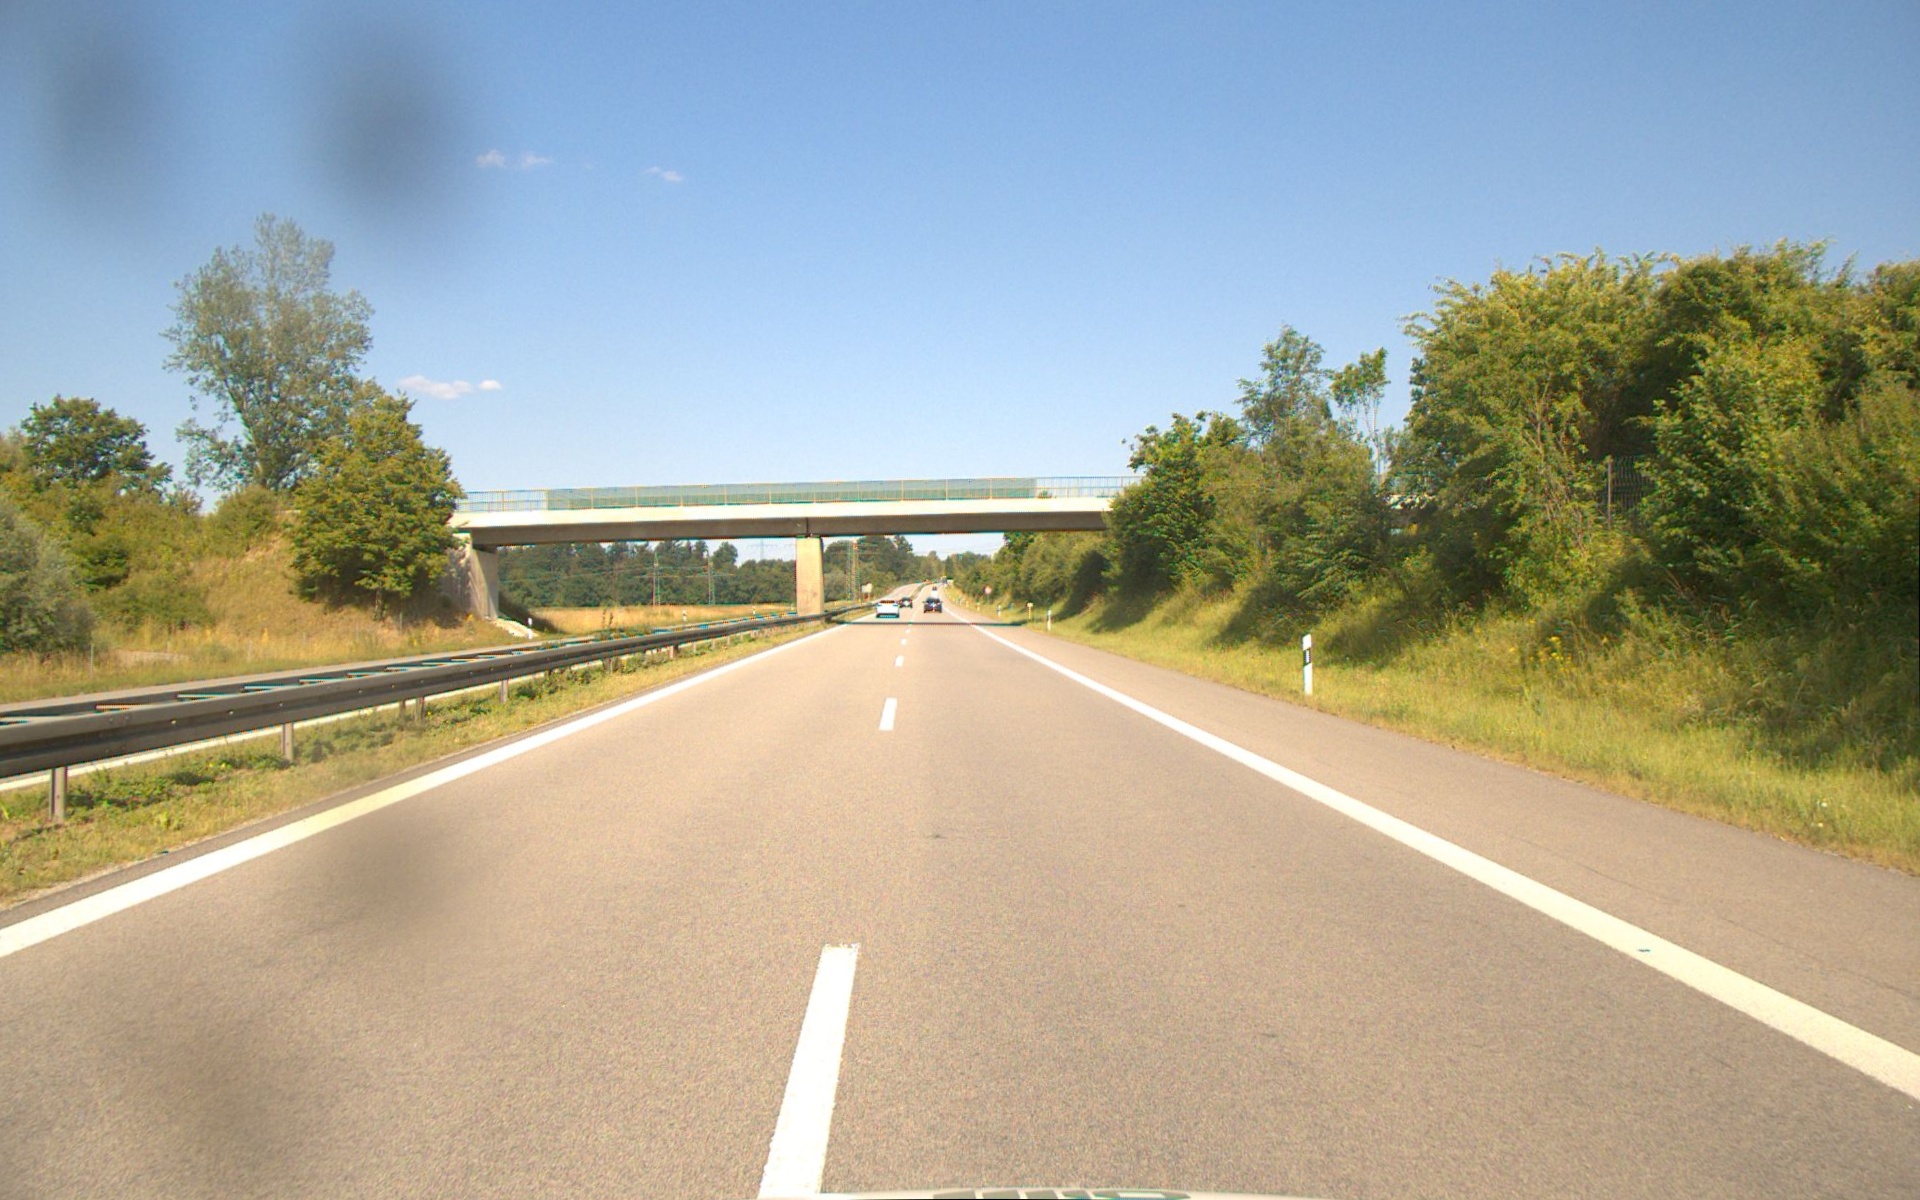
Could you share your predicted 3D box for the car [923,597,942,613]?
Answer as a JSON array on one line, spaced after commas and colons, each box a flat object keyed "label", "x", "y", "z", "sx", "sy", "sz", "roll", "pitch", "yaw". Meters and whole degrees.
[{"label": "car", "x": -2.702, "y": 0.528, "z": 164.501, "sx": 1.806, "sy": 1.546, "sz": 3.998, "roll": 1, "pitch": 0, "yaw": -2}]

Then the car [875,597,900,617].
[{"label": "car", "x": -5.525, "y": 0.543, "z": 126.356, "sx": 1.806, "sy": 1.440, "sz": 3.998, "roll": 1, "pitch": 0, "yaw": -2}]

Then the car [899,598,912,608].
[{"label": "car", "x": -7.743, "y": 0.435, "z": 233.589, "sx": 1.806, "sy": 1.461, "sz": 3.998, "roll": 1, "pitch": 0, "yaw": -2}]
